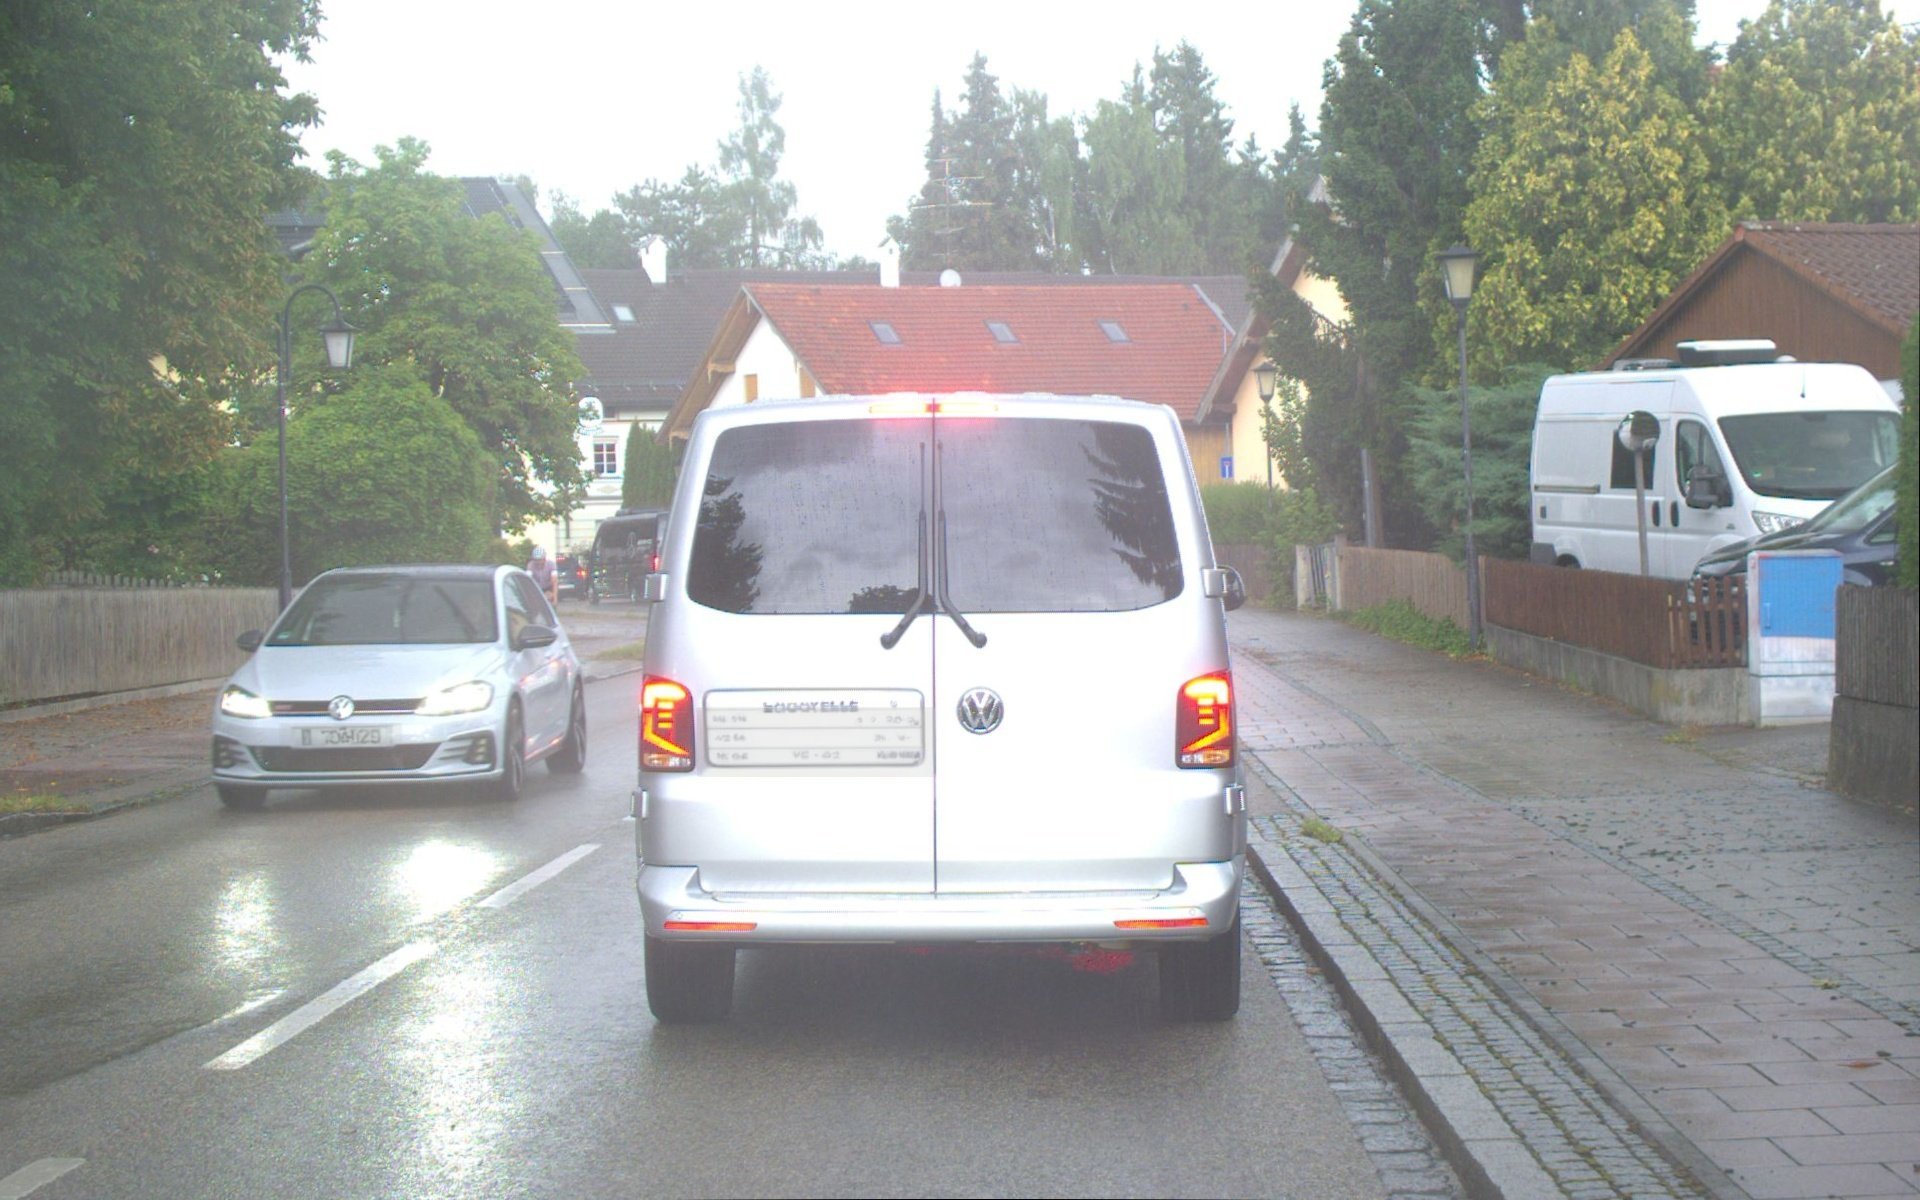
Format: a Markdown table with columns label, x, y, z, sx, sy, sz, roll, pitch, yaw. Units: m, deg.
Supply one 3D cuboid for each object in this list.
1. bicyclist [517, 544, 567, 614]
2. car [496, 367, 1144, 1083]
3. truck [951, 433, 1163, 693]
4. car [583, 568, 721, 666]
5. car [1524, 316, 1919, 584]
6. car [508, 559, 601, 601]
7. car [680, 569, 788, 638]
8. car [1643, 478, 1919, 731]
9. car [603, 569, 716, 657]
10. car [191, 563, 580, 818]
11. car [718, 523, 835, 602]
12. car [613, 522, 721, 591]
| label | x | y | z | sx | sy | sz | roll | pitch | yaw |
| --- | --- | --- | --- | --- | --- | --- | --- | --- | --- |
| bicyclist | -6.151 | -0.307 | 50.621 | 0.587 | 1.018 | 1.060 | 0 | 1 | 1 |
| car | -0.296 | 0.345 | 11.761 | 1.801 | 2.007 | 3.999 | 1 | 0 | 3 |
| truck | 1.184 | -0.449 | 44.095 | 2.475 | 3.063 | 6.296 | 1 | 0 | 1 |
| car | -4.664 | 0.243 | 52.414 | 1.618 | 1.439 | 3.670 | 0 | 0 | 3 |
| car | 6.925 | -1.245 | 30.774 | 1.993 | 2.166 | 4.954 | 1 | 0 | -12 |
| car | -13.034 | -0.657 | 110.329 | 1.780 | 1.306 | 3.776 | 1 | 0 | -26 |
| car | -5.347 | 0.082 | 80.979 | 1.827 | 1.553 | 4.178 | -1 | 0 | -14 |
| car | 7.344 | -0.020 | 25.689 | 4.093 | 1.745 | 1.695 | -1 | 3 | -2 |
| car | -5.063 | 0.214 | 58.227 | 1.618 | 1.439 | 3.671 | 0 | 0 | 0 |
| car | -3.508 | 0.511 | 21.677 | 1.716 | 1.437 | 4.000 | 1 | 0 | 1 |
| car | -4.886 | -0.986 | 91.027 | 1.993 | 2.007 | 4.001 | 1 | 0 | -20 |
| car | -8.450 | -1.239 | 98.895 | 1.993 | 1.920 | 4.001 | 1 | 0 | -22 |
